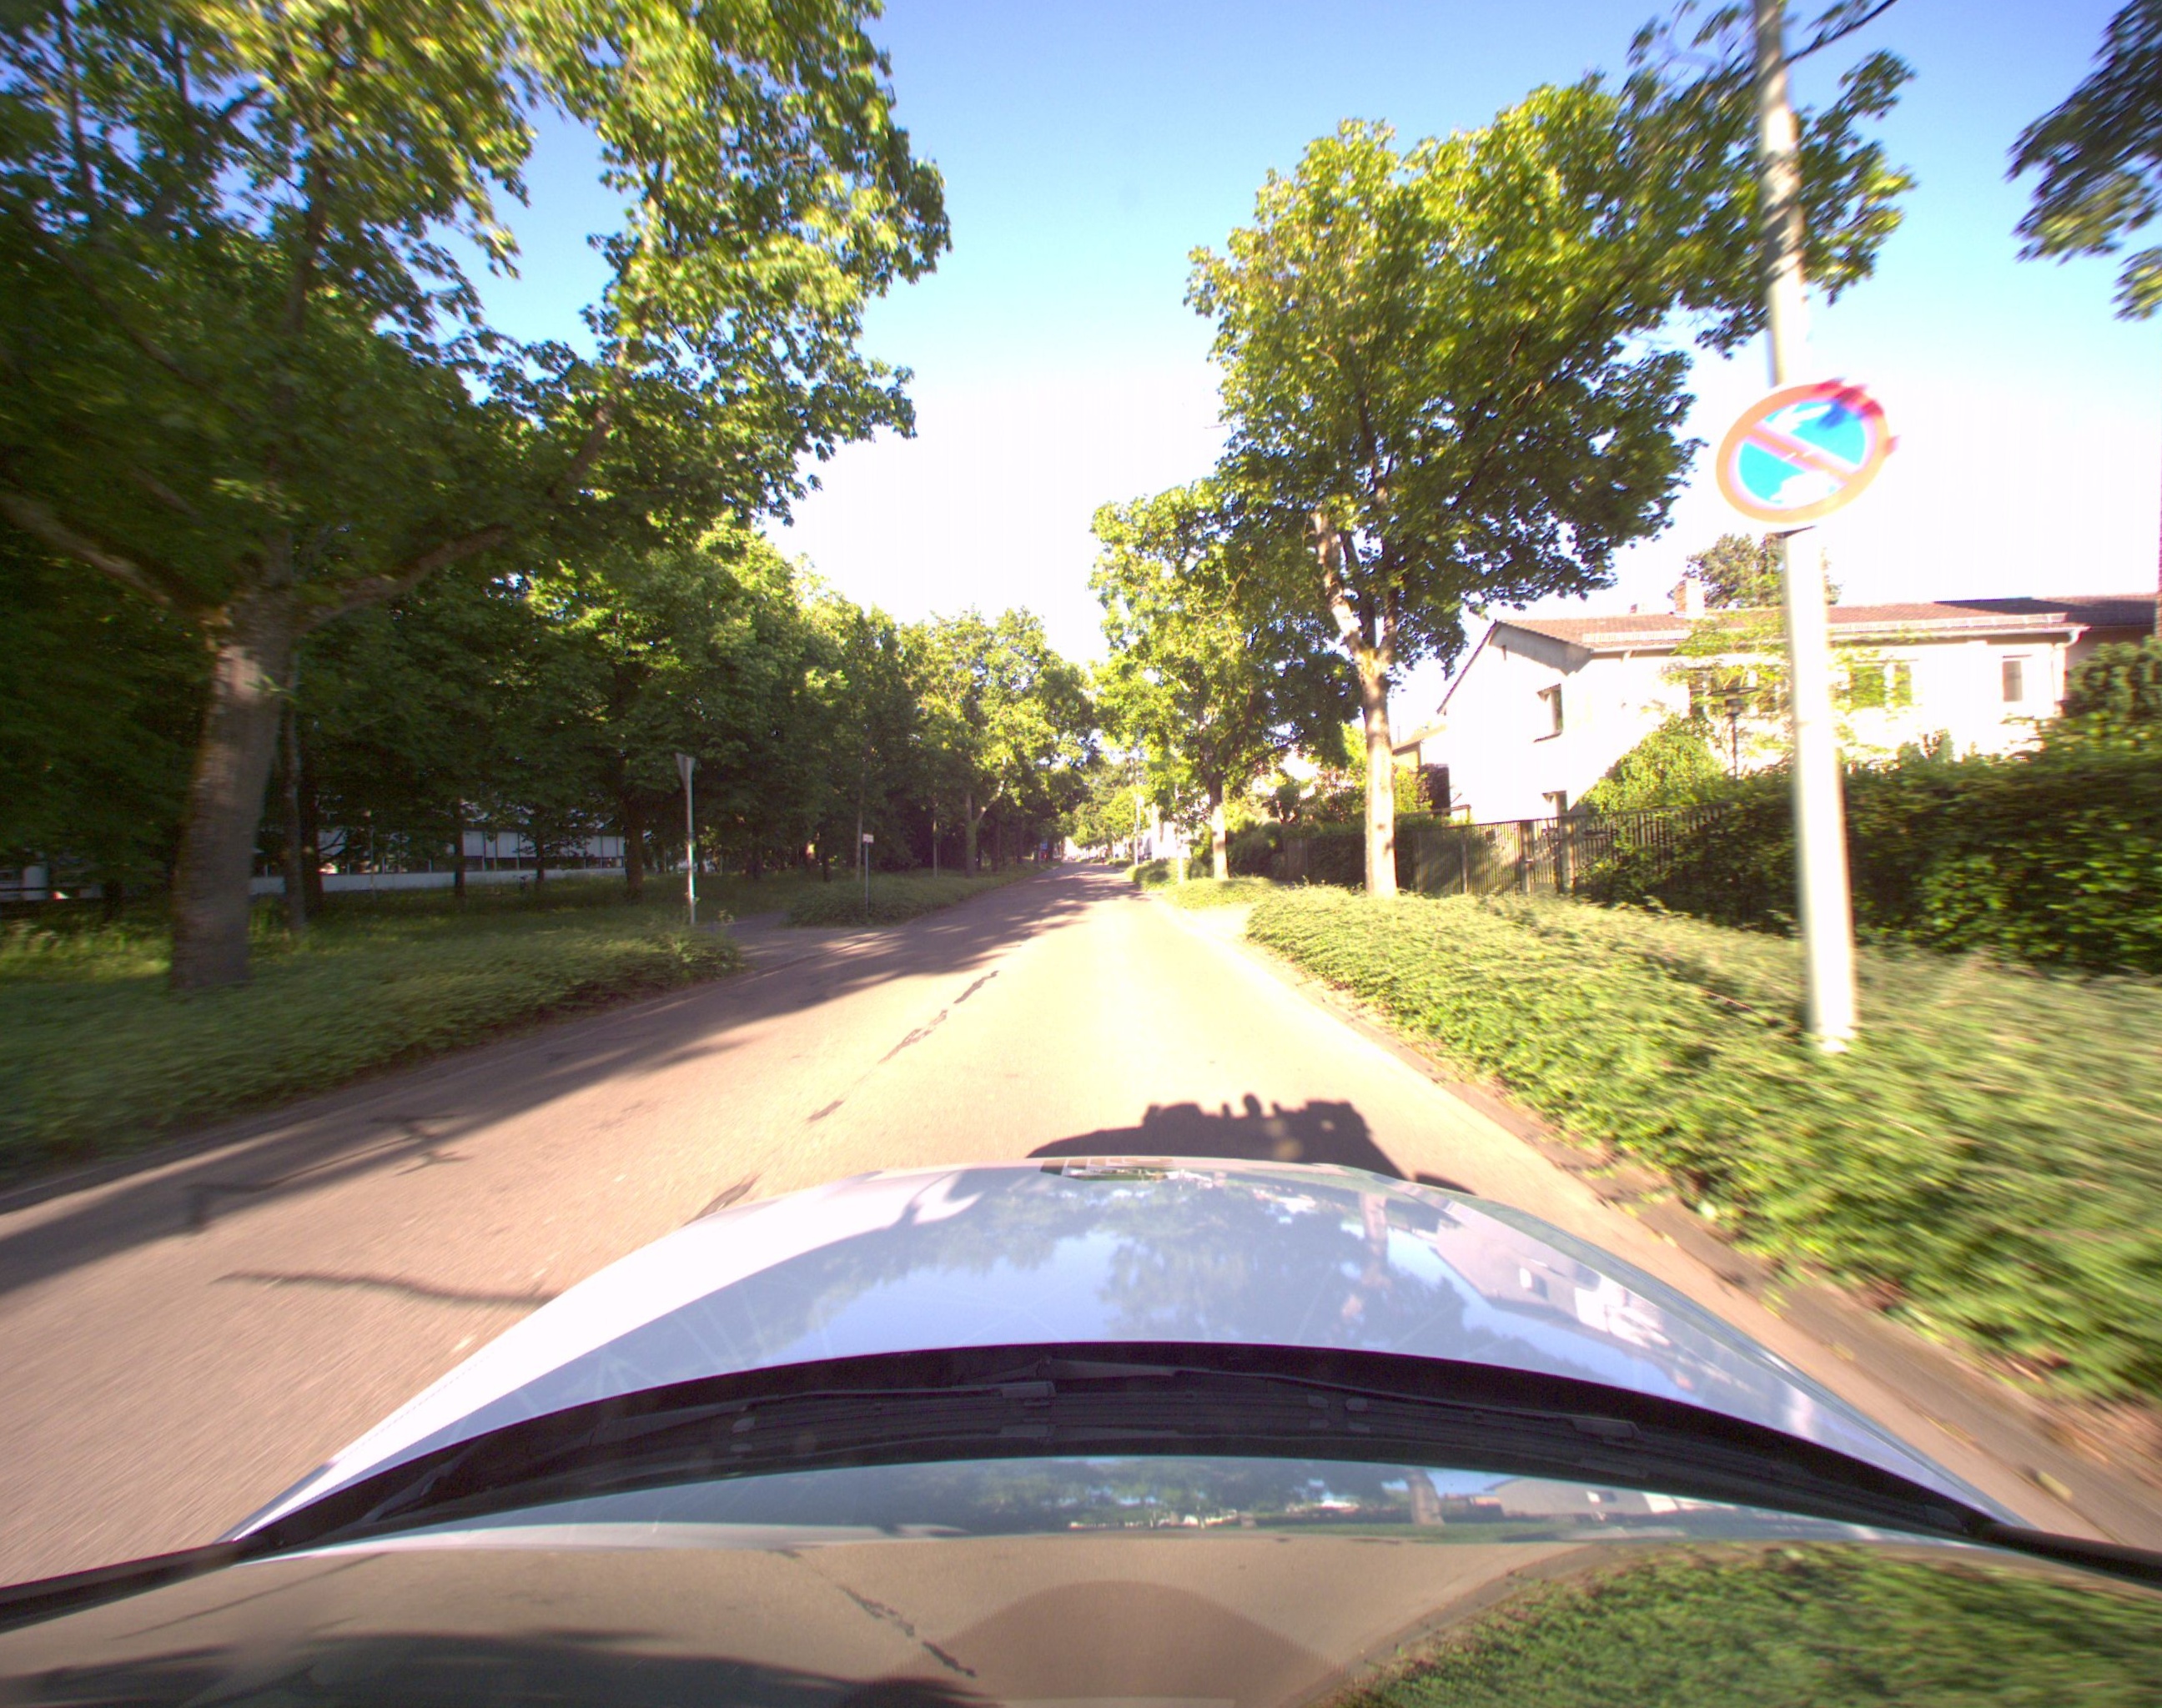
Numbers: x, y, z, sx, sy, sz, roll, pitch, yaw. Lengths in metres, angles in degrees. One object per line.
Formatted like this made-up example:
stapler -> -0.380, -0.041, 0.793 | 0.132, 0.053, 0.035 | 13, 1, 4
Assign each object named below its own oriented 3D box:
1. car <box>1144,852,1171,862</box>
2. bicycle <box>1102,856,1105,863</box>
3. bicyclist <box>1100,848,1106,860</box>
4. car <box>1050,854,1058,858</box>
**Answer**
car -> 12.337, 0.403, 131.214 | 4.327, 1.353, 2.148 | 2, 4, 6
bicycle -> 3.092, 0.788, 112.866 | 0.437, 0.978, 1.662 | -2, 1, 1
bicyclist -> 3.052, 0.012, 112.869 | 0.864, 1.641, 1.115 | -1, 1, 0
car -> -8.529, 0.560, 255.619 | 1.993, 1.354, 3.530 | -1, 0, -9
